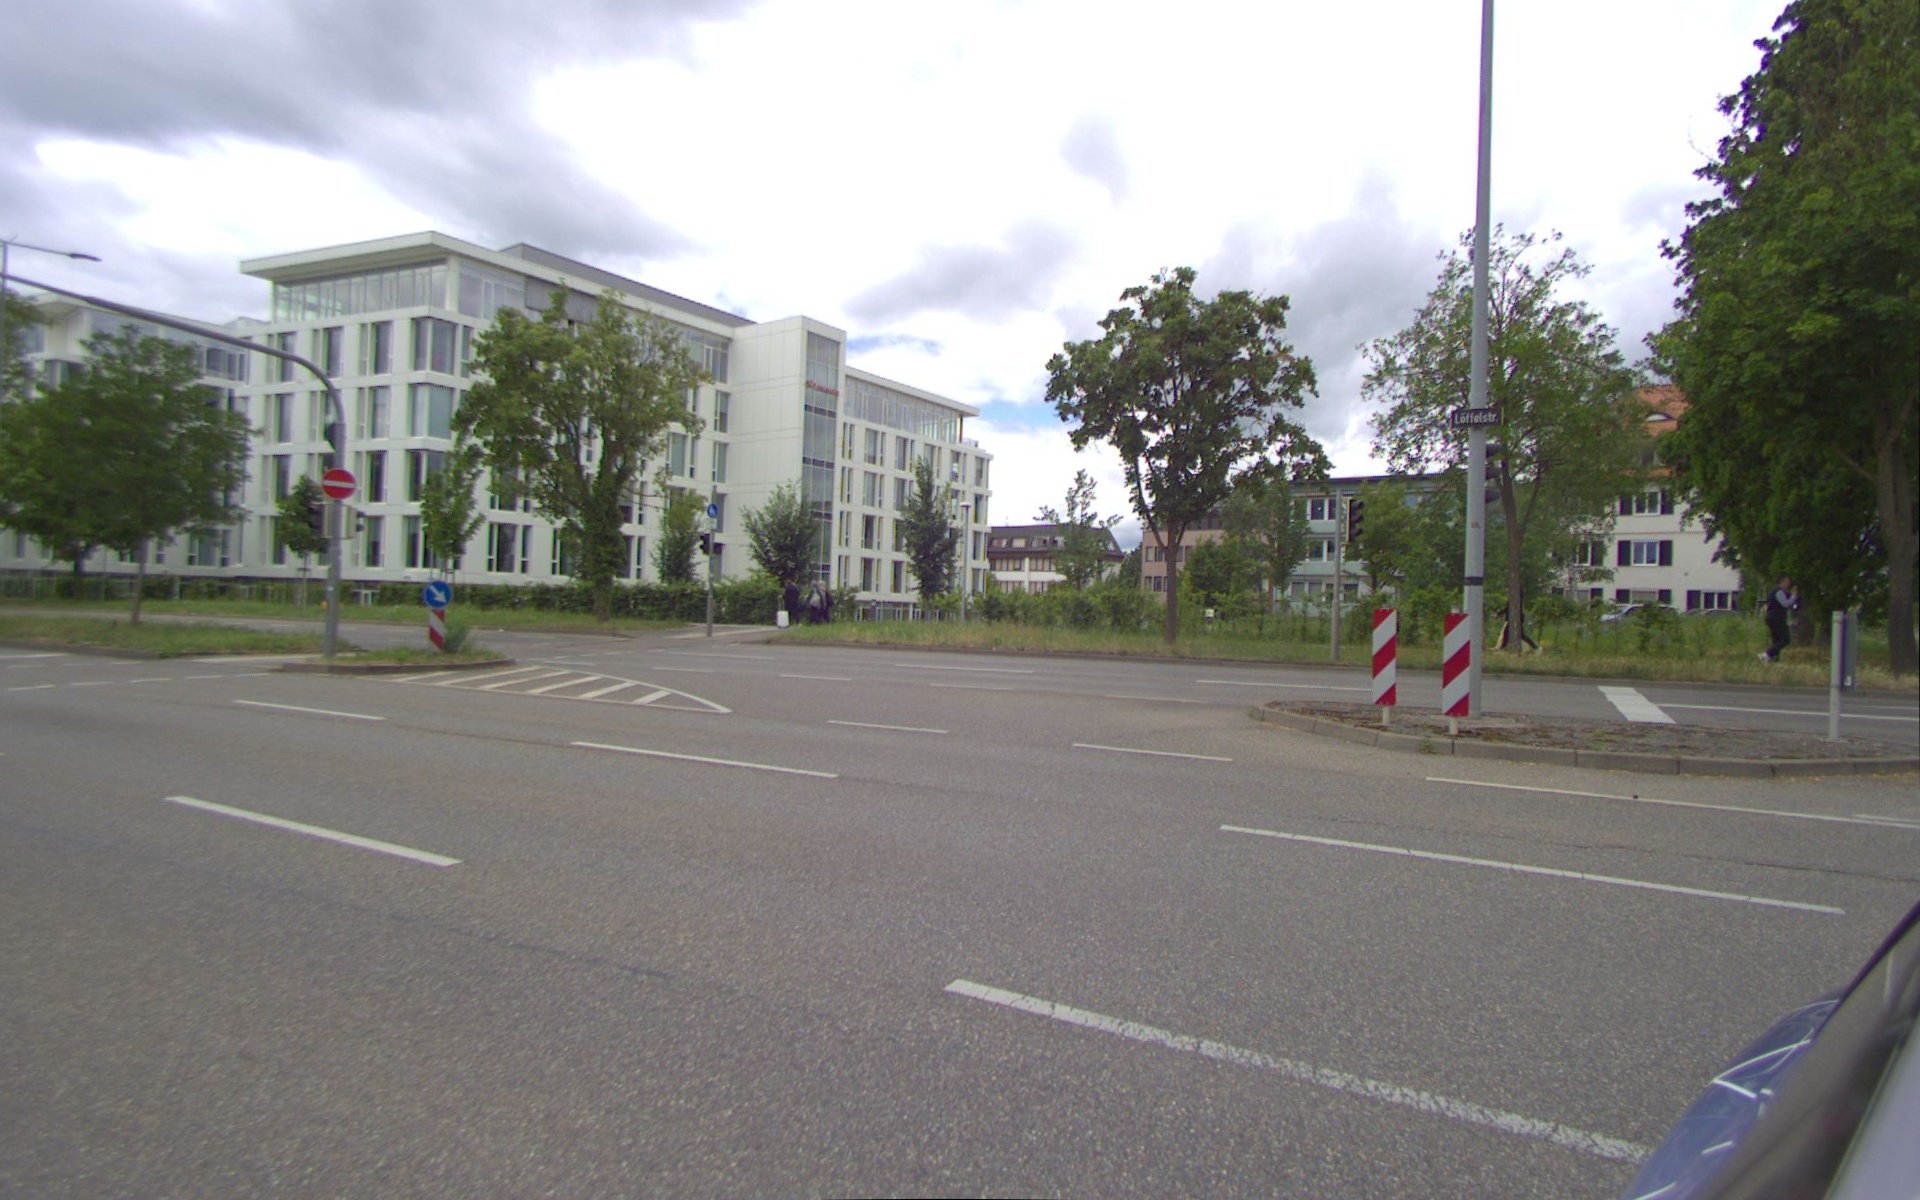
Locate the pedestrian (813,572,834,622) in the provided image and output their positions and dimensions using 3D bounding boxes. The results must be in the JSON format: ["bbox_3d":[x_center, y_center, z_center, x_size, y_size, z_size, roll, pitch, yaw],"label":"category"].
[{"bbox_3d":[-4.598,-0.104,34.043,0.674,1.647,0.662,1,-3,-8],"label":"pedestrian"}]

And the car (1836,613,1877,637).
[{"bbox_3d":[61.554,1.713,69.507,1.948,1.572,3.906,-1,-3,40],"label":"car"}]

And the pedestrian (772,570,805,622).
[{"bbox_3d":[-5.592,-0.121,32.928,0.719,1.647,1.035,2,-3,-29],"label":"pedestrian"}]

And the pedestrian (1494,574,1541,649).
[{"bbox_3d":[12.969,0.270,23.547,0.821,1.718,0.613,0,-3,17],"label":"pedestrian"}]

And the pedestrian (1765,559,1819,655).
[{"bbox_3d":[16.154,0.145,19.662,0.746,1.821,0.662,-1,-3,38],"label":"pedestrian"}]

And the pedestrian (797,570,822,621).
[{"bbox_3d":[-4.956,-0.139,33.266,0.555,1.647,0.708,2,-3,-33],"label":"pedestrian"}]

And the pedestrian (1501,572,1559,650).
[{"bbox_3d":[12.770,0.254,22.696,0.989,1.718,0.604,0,-3,17],"label":"pedestrian"}]
